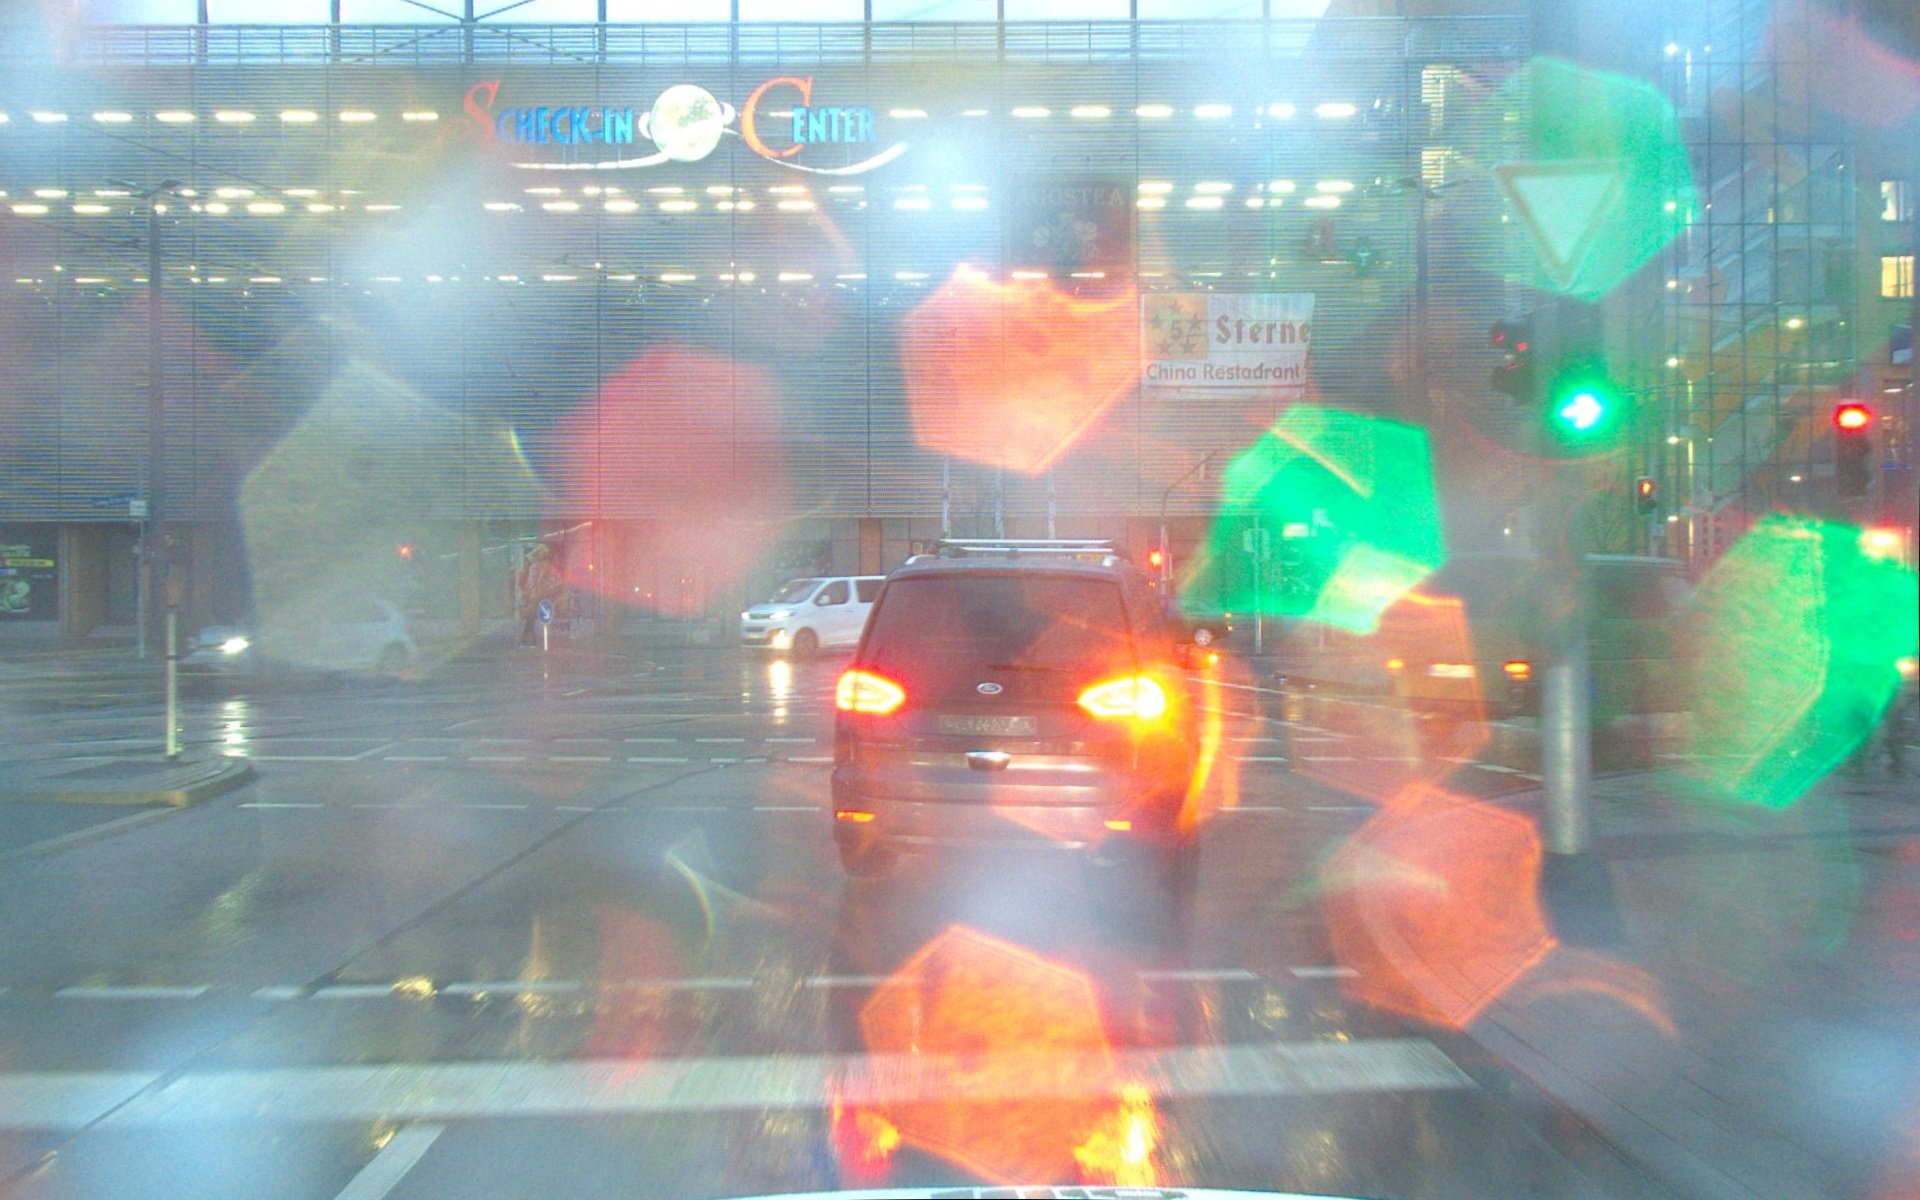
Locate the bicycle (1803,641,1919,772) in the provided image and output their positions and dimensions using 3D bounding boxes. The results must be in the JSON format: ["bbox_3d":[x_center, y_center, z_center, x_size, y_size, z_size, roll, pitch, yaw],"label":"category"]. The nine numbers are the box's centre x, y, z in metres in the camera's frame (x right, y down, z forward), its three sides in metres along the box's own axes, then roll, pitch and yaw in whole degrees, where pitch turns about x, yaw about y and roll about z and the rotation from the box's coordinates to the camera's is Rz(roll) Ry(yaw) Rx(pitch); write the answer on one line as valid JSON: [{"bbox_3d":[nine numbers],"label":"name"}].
[{"bbox_3d":[7.823,0.869,13.999,0.641,0.990,1.868,0,0,8],"label":"bicycle"}]

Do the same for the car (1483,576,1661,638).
[{"bbox_3d":[17.839,0.188,48.338,4.501,1.749,1.929,0,0,-1],"label":"car"}]

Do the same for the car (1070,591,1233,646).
[{"bbox_3d":[5.386,0.517,46.767,4.327,1.470,1.626,0,0,-9],"label":"car"}]

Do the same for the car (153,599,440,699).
[{"bbox_3d":[-10.916,0.751,27.545,1.824,1.512,4.337,-1,0,26],"label":"car"}]

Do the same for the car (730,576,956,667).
[{"bbox_3d":[-2.786,0.487,40.524,5.617,2.095,1.922,0,0,-44],"label":"car"}]

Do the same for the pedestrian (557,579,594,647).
[{"bbox_3d":[-14.188,0.493,61.060,1.087,2.482,0.966,1,-1,2],"label":"pedestrian"}]

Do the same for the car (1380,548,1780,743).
[{"bbox_3d":[6.657,0.420,17.585,4.435,1.837,1.827,0,0,-35],"label":"car"}]

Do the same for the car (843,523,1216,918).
[{"bbox_3d":[0.611,0.561,9.711,1.638,1.811,4.003,-1,0,10],"label":"car"}]

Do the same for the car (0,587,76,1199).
[{"bbox_3d":[-2.974,0.705,2.118,1.723,1.489,3.915,0,0,-3],"label":"car"}]

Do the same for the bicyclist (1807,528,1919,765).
[{"bbox_3d":[7.746,0.380,13.947,0.774,1.923,0.990,0,0,8],"label":"bicyclist"}]

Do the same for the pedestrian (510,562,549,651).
[{"bbox_3d":[-14.558,0.223,55.921,0.943,2.976,1.114,1,-1,2],"label":"pedestrian"}]
